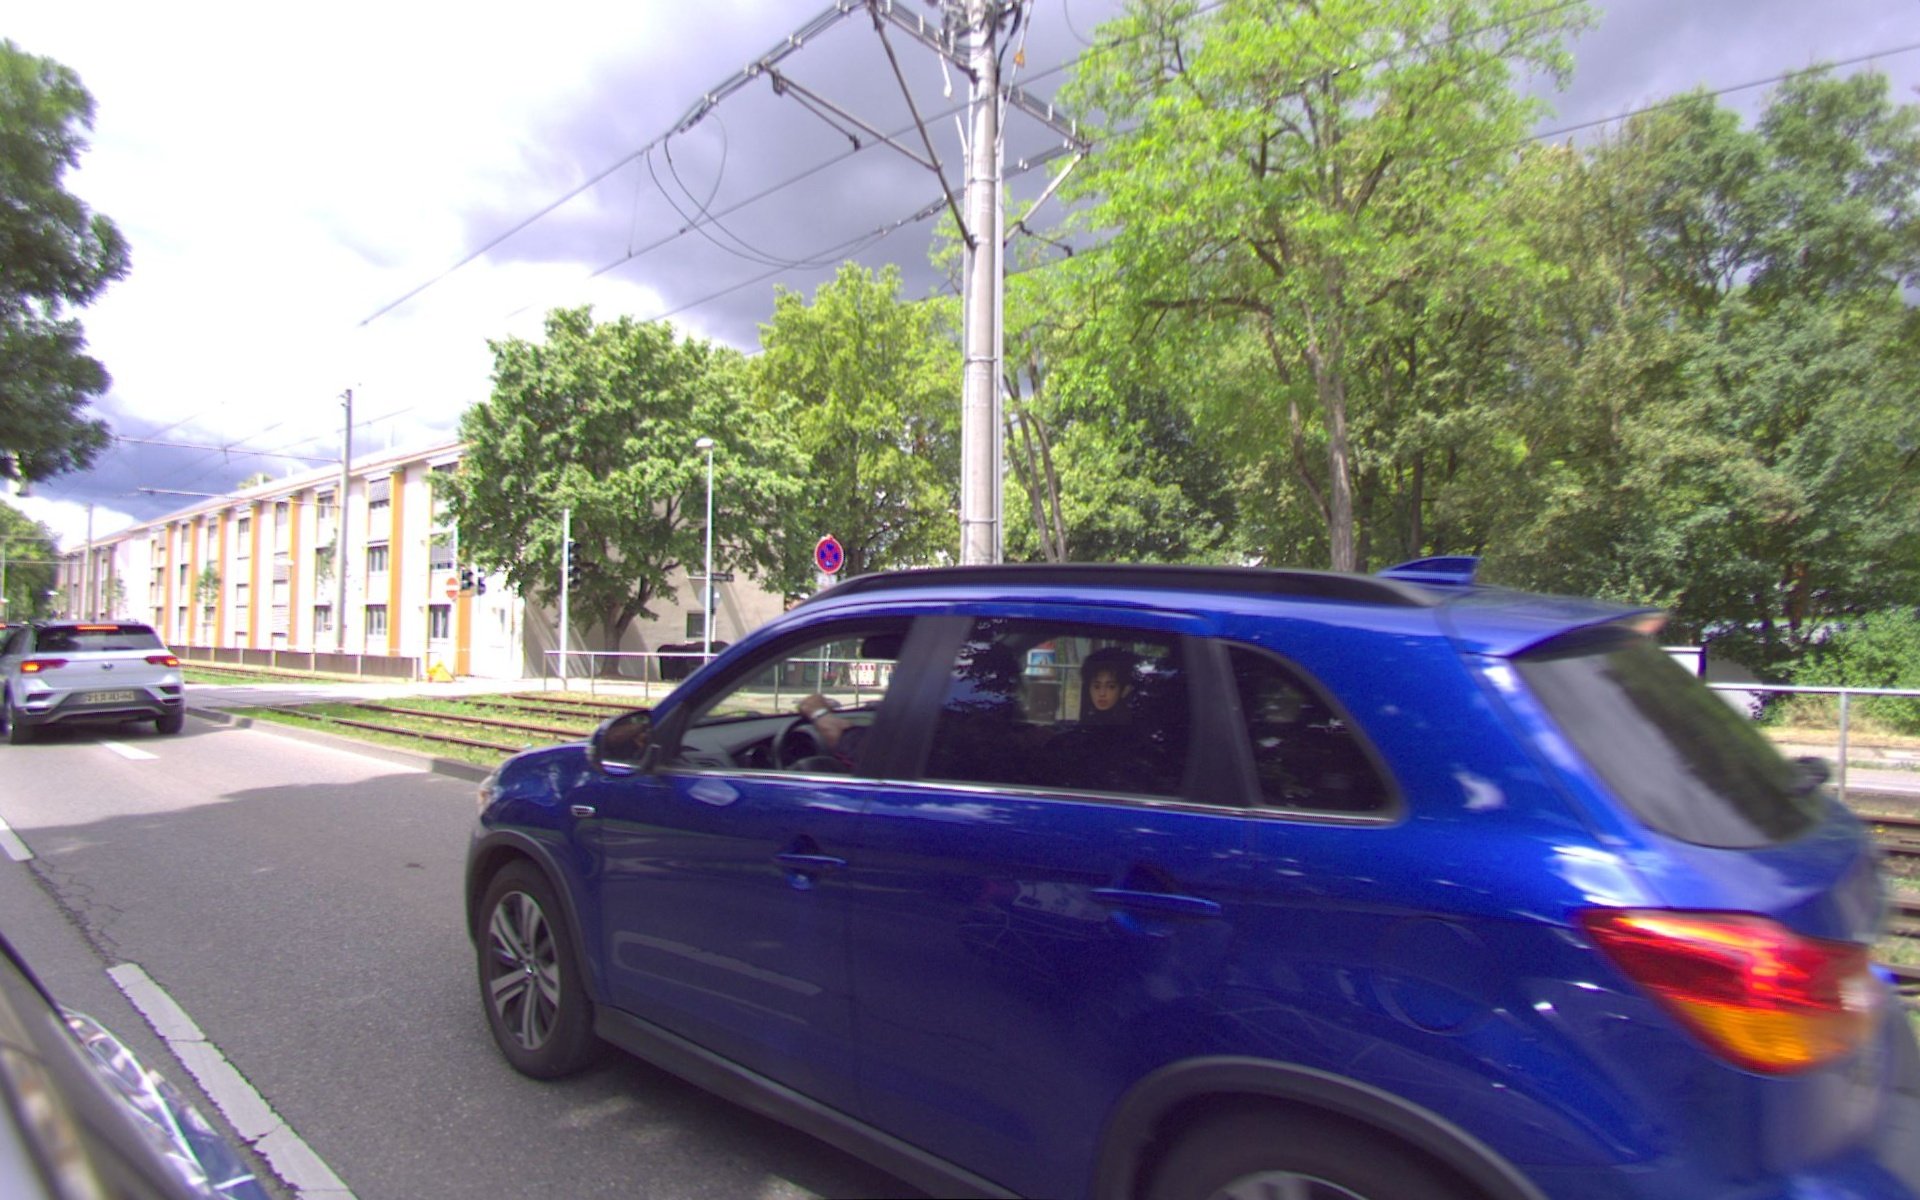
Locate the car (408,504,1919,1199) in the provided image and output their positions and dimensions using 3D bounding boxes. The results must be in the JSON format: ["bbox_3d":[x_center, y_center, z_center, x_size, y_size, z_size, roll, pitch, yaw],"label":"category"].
[{"bbox_3d":[0.155,0.739,2.906,4.163,1.578,1.695,-2,-1,41],"label":"car"}]

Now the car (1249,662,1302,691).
[{"bbox_3d":[24.820,5.974,79.560,3.611,2.029,1.944,-1,0,31],"label":"car"}]

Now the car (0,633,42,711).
[{"bbox_3d":[-20.751,1.508,21.351,3.272,1.545,1.620,-2,-1,40],"label":"car"}]

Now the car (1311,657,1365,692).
[{"bbox_3d":[24.371,4.798,65.176,2.000,2.118,3.944,-1,-4,42],"label":"car"}]

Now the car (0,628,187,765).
[{"bbox_3d":[-12.123,1.215,13.804,3.997,1.556,1.699,-3,-1,40],"label":"car"}]

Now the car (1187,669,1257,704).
[{"bbox_3d":[13.078,4.277,50.399,1.852,1.500,3.947,-1,-2,40],"label":"car"}]
